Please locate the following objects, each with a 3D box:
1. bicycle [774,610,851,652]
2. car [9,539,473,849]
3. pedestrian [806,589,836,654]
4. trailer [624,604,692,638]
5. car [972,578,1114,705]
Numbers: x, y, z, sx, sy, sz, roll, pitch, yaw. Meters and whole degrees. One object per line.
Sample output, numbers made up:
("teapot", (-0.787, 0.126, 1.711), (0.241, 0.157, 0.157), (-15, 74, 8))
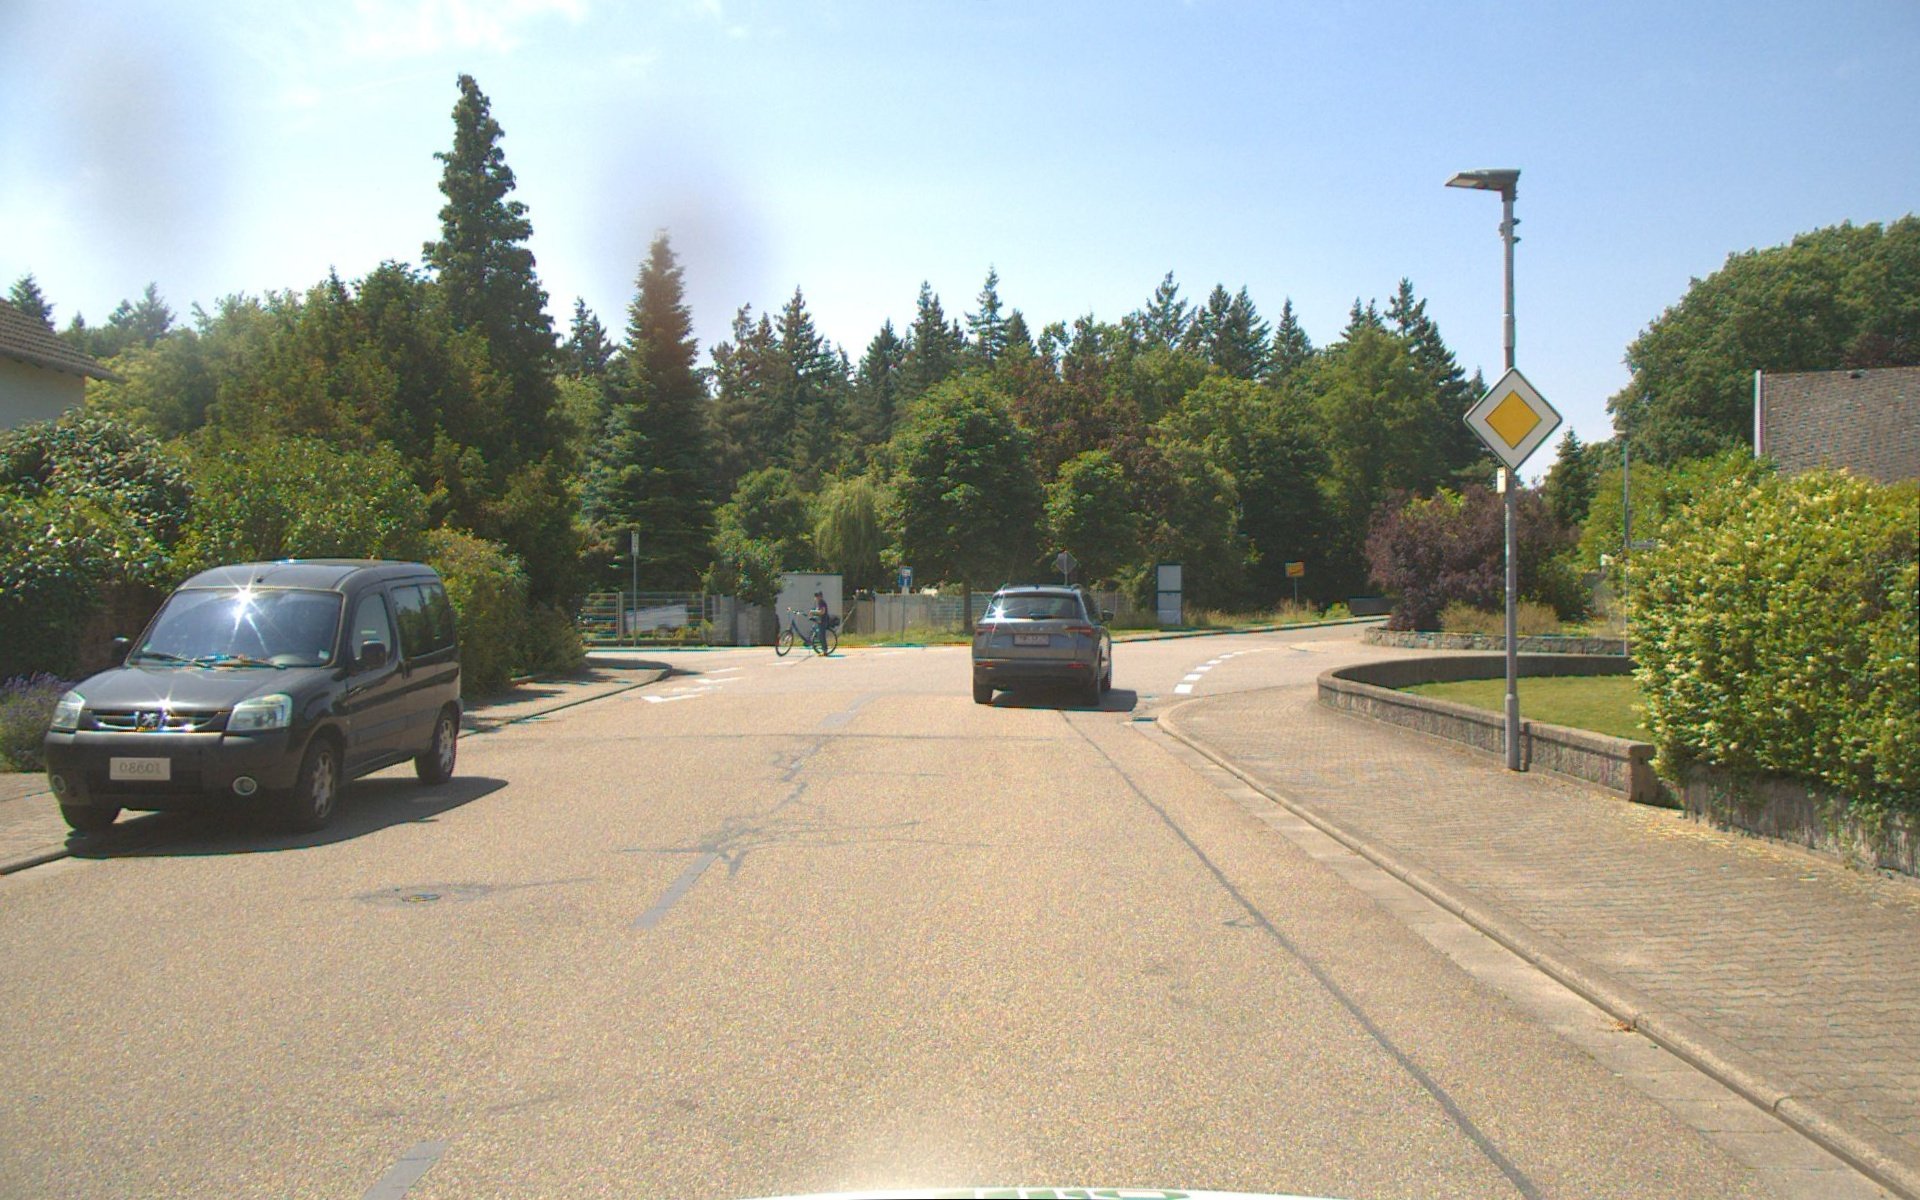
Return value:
("bicycle", (-3.575, 0.754, 40.030), (1.814, 0.980, 0.441), (-1, 0, -19))
("car", (-4.979, 0.564, 12.107), (1.683, 1.878, 4.053), (0, 0, -1))
("pedestrian", (-3.343, 0.512, 39.681), (0.601, 1.527, 0.501), (0, 0, -20))
("trailer", (-9.977, 0.688, 54.741), (2.173, 1.103, 1.104), (0, 0, -8))
("car", (1.282, 0.546, 23.880), (1.725, 1.646, 4.003), (1, 0, 7))
